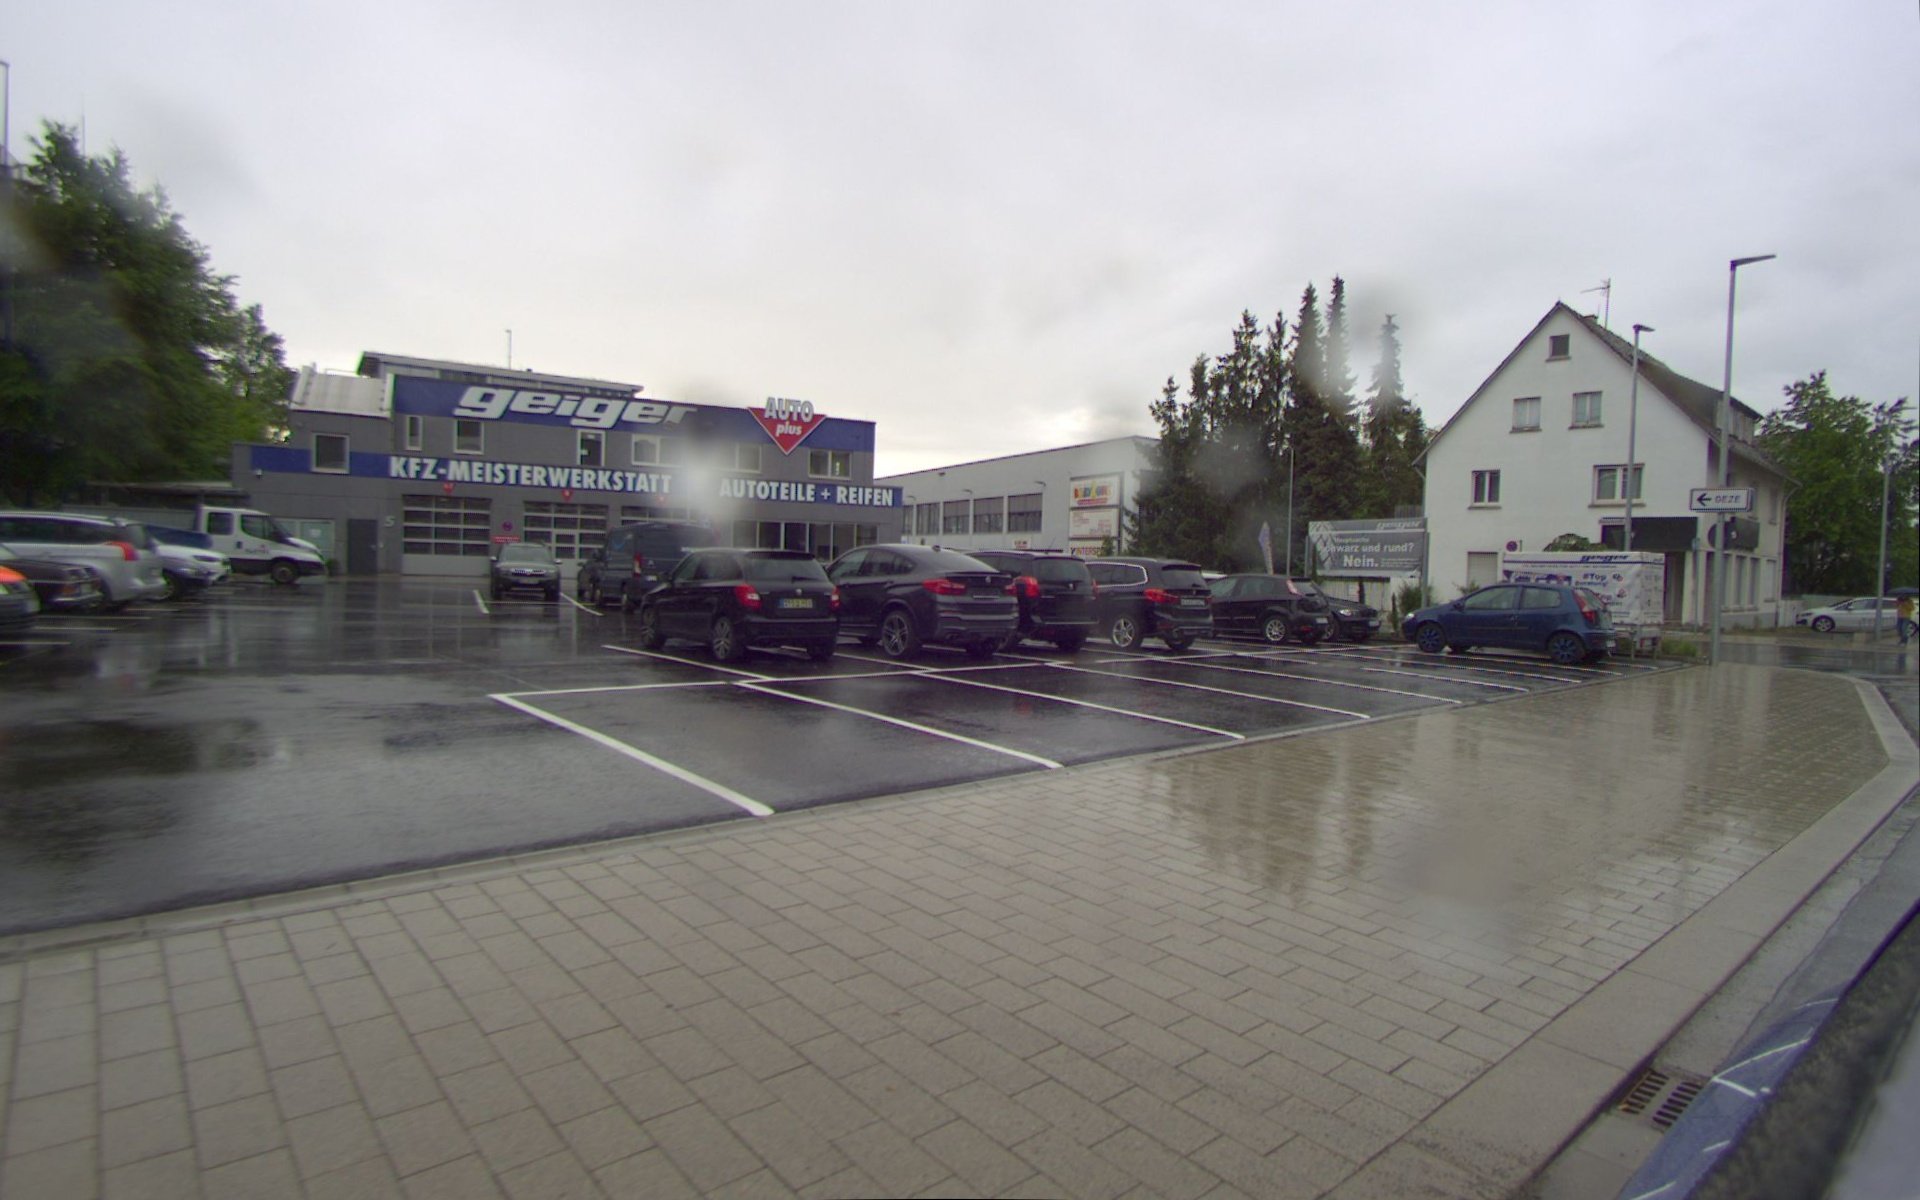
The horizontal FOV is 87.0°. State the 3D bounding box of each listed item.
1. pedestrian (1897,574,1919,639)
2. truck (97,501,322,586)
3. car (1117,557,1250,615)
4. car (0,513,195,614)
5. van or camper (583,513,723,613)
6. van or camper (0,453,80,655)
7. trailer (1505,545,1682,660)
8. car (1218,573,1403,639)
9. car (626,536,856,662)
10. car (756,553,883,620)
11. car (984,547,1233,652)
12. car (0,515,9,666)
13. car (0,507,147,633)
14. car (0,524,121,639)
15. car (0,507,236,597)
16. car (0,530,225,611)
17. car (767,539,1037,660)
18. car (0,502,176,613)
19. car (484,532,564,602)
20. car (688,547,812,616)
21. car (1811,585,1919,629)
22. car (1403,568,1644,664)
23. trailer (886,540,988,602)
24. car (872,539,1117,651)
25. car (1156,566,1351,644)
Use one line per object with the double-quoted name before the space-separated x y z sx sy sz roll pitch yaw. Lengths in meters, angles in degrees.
"pedestrian" 31.154 0.214 32.865 1.175 2.038 0.860 0 4 -43
"truck" -22.248 -1.653 30.348 5.203 2.298 2.001 -2 0 -31
"car" 7.860 -0.489 35.472 4.401 1.851 1.896 1 3 -32
"car" -16.452 -0.682 18.316 3.919 1.699 1.739 1 2 -29
"van or camper" -8.148 -1.018 26.493 2.179 2.354 4.976 1 3 -33
"van or camper" -11.970 -0.525 10.199 4.371 2.062 1.846 1 1 -30
"trailer" 13.023 -0.010 20.887 1.520 2.198 2.709 1 2 -39
"car" 8.151 0.097 23.718 1.665 1.331 3.730 0 2 -44
"car" -3.173 -0.084 14.195 1.613 1.519 3.695 0 2 -40
"car" -3.988 -0.419 28.059 1.828 1.602 4.375 1 3 -32
"car" 2.625 -0.090 18.738 1.813 1.672 4.362 0 2 -42
"car" -10.635 -0.080 8.075 4.124 1.460 1.940 1 2 -33
"car" -14.076 -0.472 14.161 3.919 1.699 1.739 1 2 -29
"car" -12.954 -0.281 12.395 3.922 1.370 1.737 1 3 -34
"car" -18.951 -1.059 22.943 3.921 1.837 1.899 -2 0 -30
"car" -17.683 -0.600 20.813 3.921 1.505 1.899 -2 0 -30
"car" -1.027 -0.101 15.570 1.808 1.578 4.363 0 3 -42
"car" -15.410 -0.732 16.467 3.919 1.699 1.739 1 2 -29
"car" -12.861 -0.925 29.739 1.905 1.839 4.005 -2 0 -26
"car" -5.724 -0.547 27.152 1.828 1.602 4.375 1 3 -32
"car" 38.673 0.285 42.587 4.118 1.599 1.975 5 3 36
"car" 10.862 0.221 19.711 1.621 1.547 3.734 -1 4 -40
"trailer" -1.241 -1.369 50.085 2.875 2.770 5.898 -2 0 -24
"car" 0.455 -0.170 17.517 1.754 1.679 4.366 0 2 -40
"car" 6.347 0.049 22.113 1.702 1.467 3.730 0 2 -44
